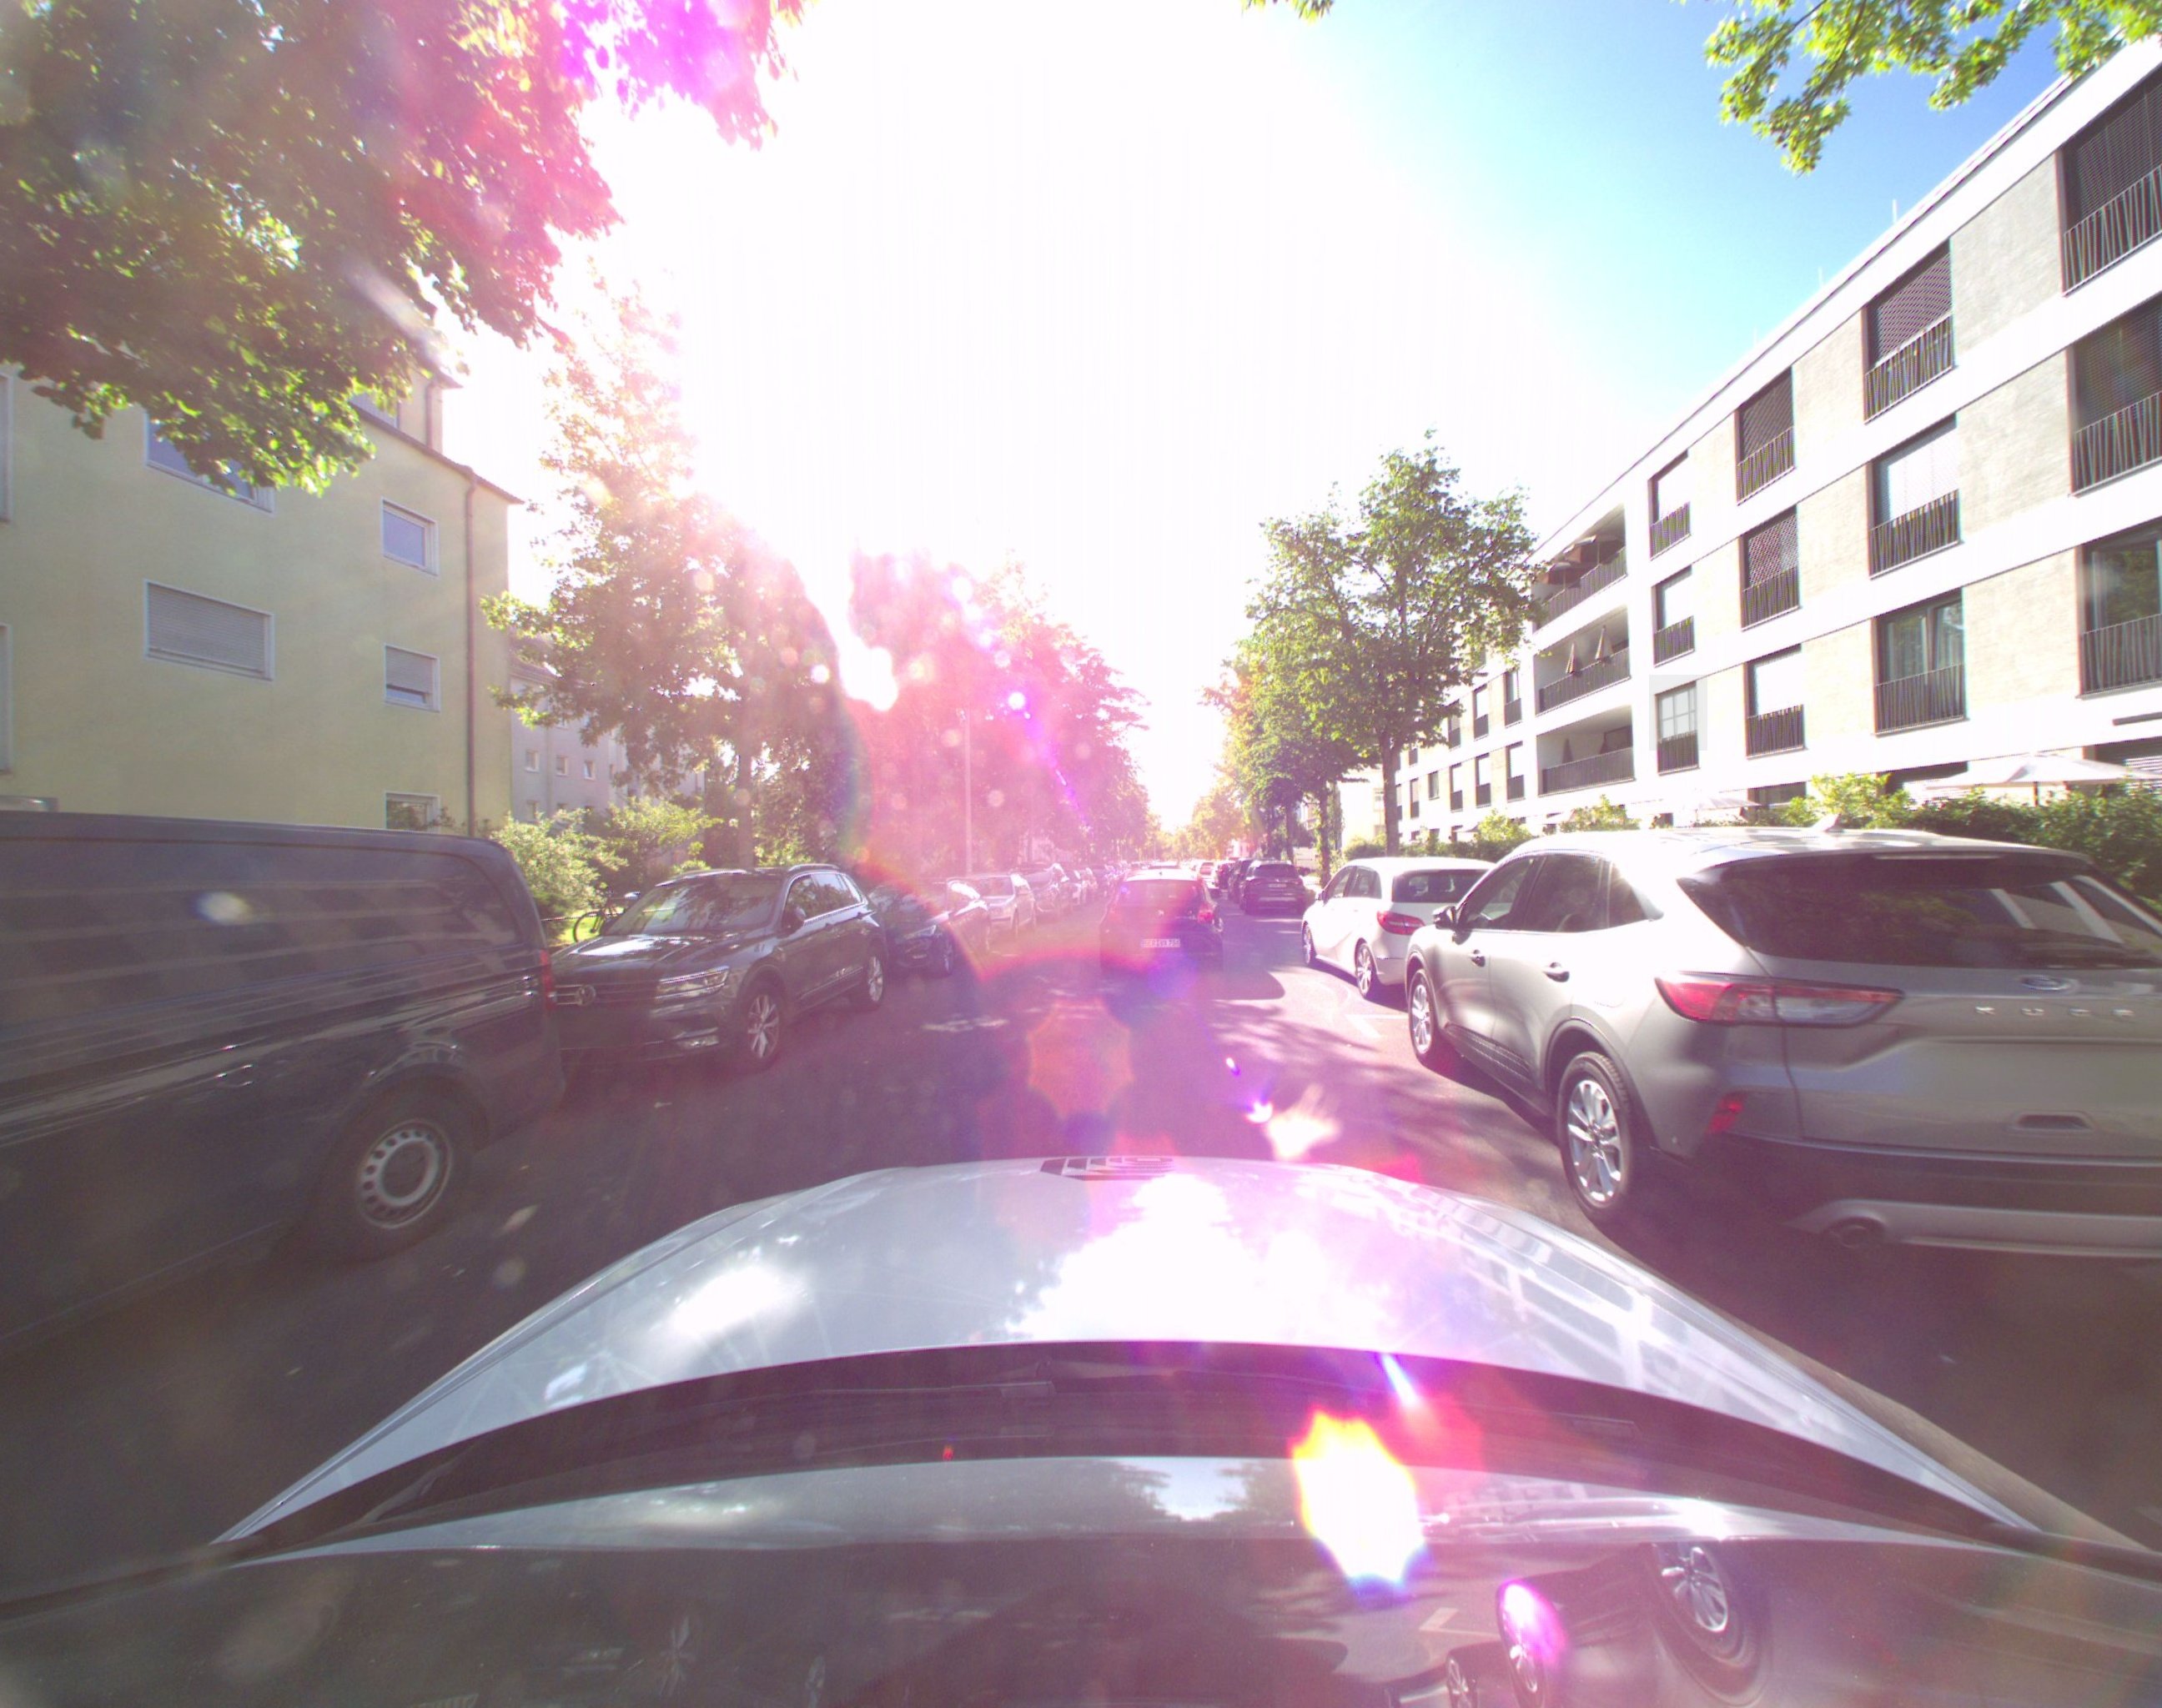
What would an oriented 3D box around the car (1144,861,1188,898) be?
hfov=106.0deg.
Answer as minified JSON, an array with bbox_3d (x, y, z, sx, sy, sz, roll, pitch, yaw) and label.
[{"bbox_3d":[3.645,1.030,34.404,1.640,1.425,4.010,-2,-1,8],"label":"car"}]

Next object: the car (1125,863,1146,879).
[{"bbox_3d":[4.985,1.524,74.123,1.604,1.392,3.872,-3,-1,6],"label":"car"}]

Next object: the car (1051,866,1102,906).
[{"bbox_3d":[-0.131,1.285,33.787,1.604,1.452,3.872,-3,-1,6],"label":"car"}]

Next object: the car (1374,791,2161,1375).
[{"bbox_3d":[3.051,0.679,4.515,1.837,1.631,4.420,-1,-1,8],"label":"car"}]

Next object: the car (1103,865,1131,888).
[{"bbox_3d":[2.488,1.492,55.309,1.604,1.392,3.872,-3,-1,6],"label":"car"}]

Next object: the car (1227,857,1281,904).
[{"bbox_3d":[6.399,0.947,30.489,1.711,1.641,3.859,1,0,8],"label":"car"}]

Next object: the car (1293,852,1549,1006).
[{"bbox_3d":[3.922,0.773,10.157,1.686,1.524,4.003,-1,-1,3],"label":"car"}]

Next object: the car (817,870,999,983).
[{"bbox_3d":[-2.554,1.029,13.042,1.604,1.427,4.065,-3,-1,6],"label":"car"}]

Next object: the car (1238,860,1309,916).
[{"bbox_3d":[5.703,0.947,24.510,1.711,1.528,4.009,1,0,8],"label":"car"}]

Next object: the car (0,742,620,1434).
[{"bbox_3d":[-3.922,0.683,2.222,1.816,1.904,5.152,-3,-1,7],"label":"car"}]

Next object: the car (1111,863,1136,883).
[{"bbox_3d":[3.315,1.441,62.782,1.604,1.392,3.872,-3,-1,6],"label":"car"}]

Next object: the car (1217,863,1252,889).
[{"bbox_3d":[8.522,1.181,45.491,1.711,1.379,3.859,1,0,8],"label":"car"}]

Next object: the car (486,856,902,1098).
[{"bbox_3d":[-3.167,0.882,7.760,1.605,1.611,4.234,-3,-1,4],"label":"car"}]

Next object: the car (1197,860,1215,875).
[{"bbox_3d":[13.089,1.376,85.388,1.710,1.480,3.861,-2,-1,10],"label":"car"}]

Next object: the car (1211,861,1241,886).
[{"bbox_3d":[8.921,1.182,50.273,1.711,1.480,3.859,1,0,8],"label":"car"}]

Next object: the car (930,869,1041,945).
[{"bbox_3d":[-1.999,1.097,18.115,1.604,1.427,3.732,-3,-1,6],"label":"car"}]

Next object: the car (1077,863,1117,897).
[{"bbox_3d":[0.847,1.278,40.647,1.604,1.543,3.872,-3,-1,6],"label":"car"}]

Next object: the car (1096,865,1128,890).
[{"bbox_3d":[1.946,1.431,50.056,1.604,1.392,3.872,-3,-1,6],"label":"car"}]

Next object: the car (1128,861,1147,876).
[{"bbox_3d":[5.568,1.388,79.528,1.604,1.392,3.872,-3,-1,6],"label":"car"}]

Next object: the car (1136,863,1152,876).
[{"bbox_3d":[7.252,1.772,93.705,1.604,1.392,3.872,-2,-1,6],"label":"car"}]

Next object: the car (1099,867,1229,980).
[{"bbox_3d":[1.122,0.927,12.289,1.643,1.397,3.412,-2,-1,1],"label":"car"}]

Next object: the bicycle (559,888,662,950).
[{"bbox_3d":[-8.687,1.177,15.144,0.591,0.991,1.932,-2,-1,7],"label":"bicycle"}]

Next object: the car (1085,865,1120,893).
[{"bbox_3d":[1.239,1.373,45.571,1.604,1.392,3.872,-3,-1,6],"label":"car"}]

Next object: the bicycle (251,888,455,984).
[{"bbox_3d":[-10.230,1.134,11.501,2.141,1.209,0.689,-2,-1,-5],"label":"bicycle"}]

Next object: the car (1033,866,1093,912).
[{"bbox_3d":[-0.569,1.213,29.188,1.604,1.452,3.872,-3,-1,6],"label":"car"}]

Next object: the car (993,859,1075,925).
[{"bbox_3d":[-1.268,1.021,23.519,1.604,1.679,4.241,-3,-1,6],"label":"car"}]
